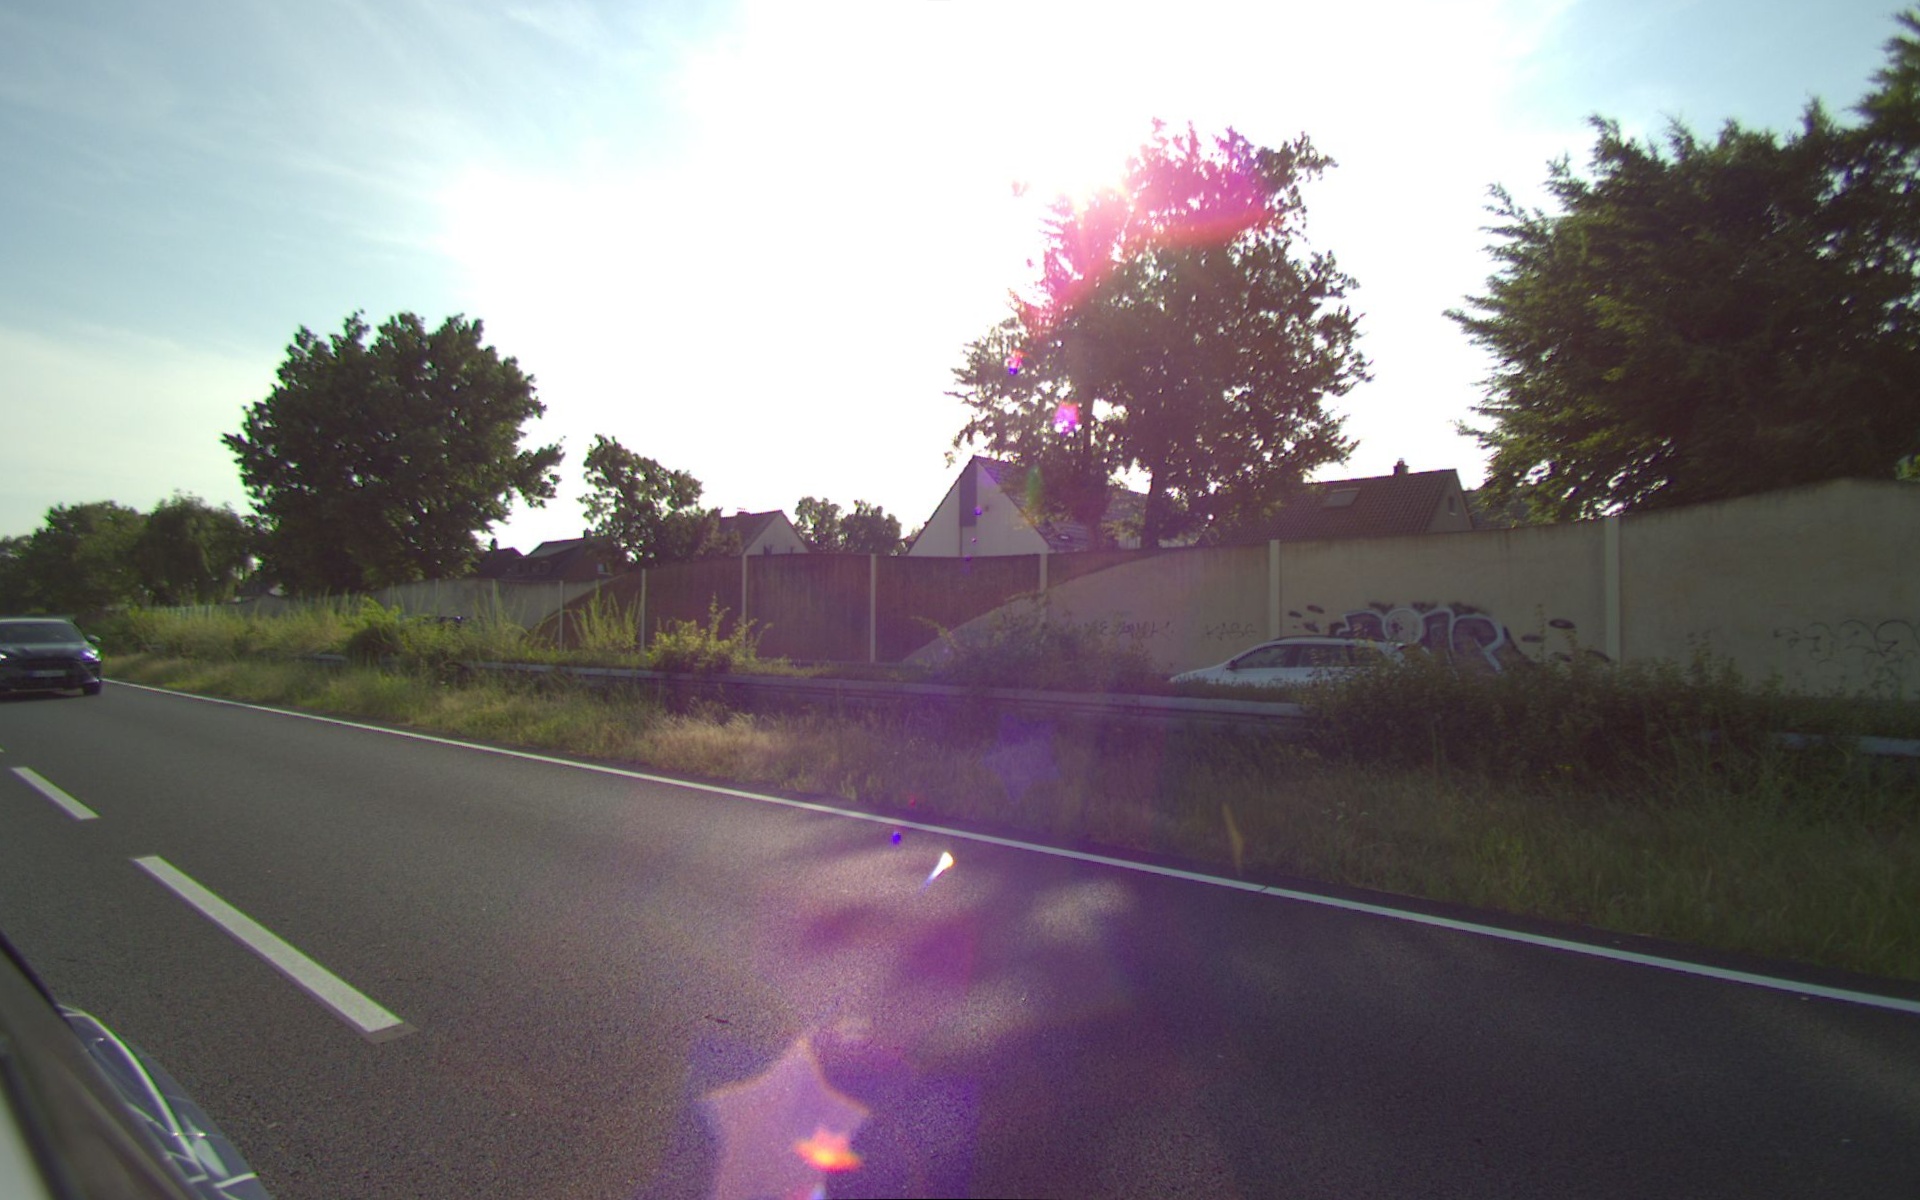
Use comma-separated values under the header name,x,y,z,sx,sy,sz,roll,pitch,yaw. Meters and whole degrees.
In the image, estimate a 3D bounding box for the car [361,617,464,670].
name,x,y,z,sx,sy,sz,roll,pitch,yaw
car,-20.928,1.613,38.632,4.680,1.837,1.973,-1,-1,41

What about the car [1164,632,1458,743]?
name,x,y,z,sx,sy,sz,roll,pitch,yaw
car,5.404,1.260,15.848,3.997,1.453,1.736,-1,-1,40

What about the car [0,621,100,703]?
name,x,y,z,sx,sy,sz,roll,pitch,yaw
car,-19.437,1.222,21.038,4.244,1.536,1.798,-1,-1,41
